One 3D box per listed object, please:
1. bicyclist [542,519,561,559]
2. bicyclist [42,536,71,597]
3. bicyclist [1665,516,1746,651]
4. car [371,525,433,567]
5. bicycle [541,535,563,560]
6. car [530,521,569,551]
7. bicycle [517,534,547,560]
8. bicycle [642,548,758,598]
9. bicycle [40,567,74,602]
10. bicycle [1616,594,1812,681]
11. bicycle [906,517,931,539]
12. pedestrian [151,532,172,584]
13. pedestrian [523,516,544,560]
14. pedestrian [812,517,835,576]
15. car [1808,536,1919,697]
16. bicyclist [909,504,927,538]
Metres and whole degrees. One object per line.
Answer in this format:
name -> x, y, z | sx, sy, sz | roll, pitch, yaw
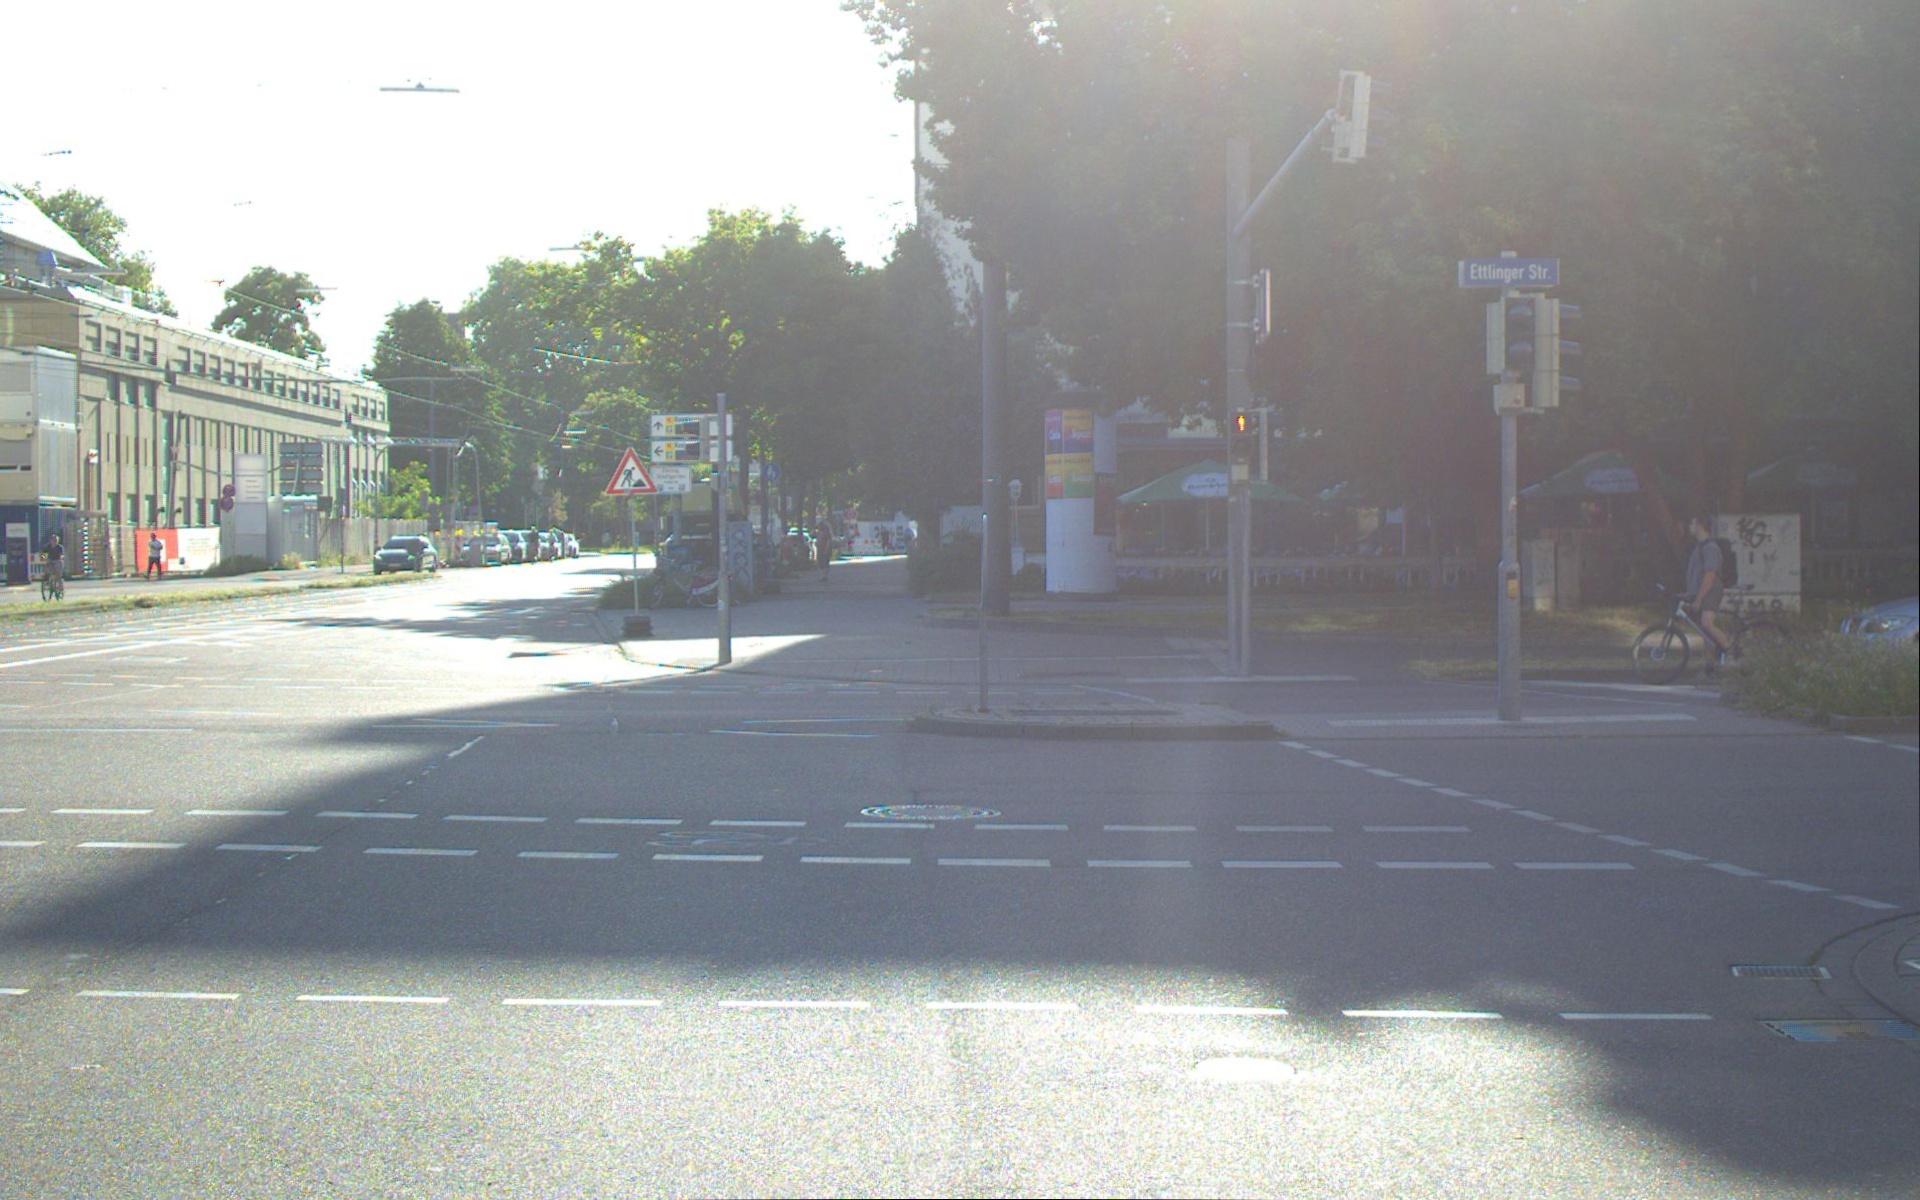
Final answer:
bicyclist -> -19.793, -2.941, 166.612 | 0.750, 1.913, 1.215 | 1, 0, -2
bicyclist -> -22.185, -0.832, 84.420 | 0.494, 1.493, 0.666 | -1, 1, 2
bicyclist -> 7.886, -0.177, 36.378 | 0.747, 1.401, 0.702 | 1, 0, 6
car -> -22.028, -2.143, 135.751 | 1.993, 1.593, 4.001 | -1, 1, -3
bicycle -> -19.799, -2.554, 166.736 | 0.750, 1.201, 3.108 | 1, 1, -2
car -> -23.241, -3.611, 194.693 | 1.993, 1.638, 4.001 | -1, 1, -4
bicycle -> -20.070, -2.474, 161.238 | 0.751, 1.201, 3.107 | 1, 1, 5
bicycle -> -5.085, -0.534, 67.222 | 2.244, 0.937, 0.654 | -1, 1, -5
bicycle -> -22.178, -0.382, 84.439 | 0.494, 0.836, 1.156 | -1, 1, 2
bicycle -> 7.967, 0.386, 36.379 | 1.944, 0.886, 0.718 | 1, 0, 6
bicycle -> -2.415, -4.206, 200.474 | 0.890, 1.215, 2.794 | 1, 1, -12
pedestrian -> -29.203, -1.549, 125.702 | 0.588, 1.883, 0.478 | 1, 0, 17
pedestrian -> -20.024, -2.908, 161.298 | 0.751, 2.056, 1.050 | 1, 0, 5
pedestrian -> -3.872, -1.517, 97.587 | 0.576, 1.683, 0.585 | -1, 1, -8
car -> 10.831, 0.173, 33.572 | 4.576, 1.511, 2.000 | 1, 0, 0
bicyclist -> -2.426, -4.603, 200.488 | 0.890, 2.007, 0.749 | 1, 0, -12
